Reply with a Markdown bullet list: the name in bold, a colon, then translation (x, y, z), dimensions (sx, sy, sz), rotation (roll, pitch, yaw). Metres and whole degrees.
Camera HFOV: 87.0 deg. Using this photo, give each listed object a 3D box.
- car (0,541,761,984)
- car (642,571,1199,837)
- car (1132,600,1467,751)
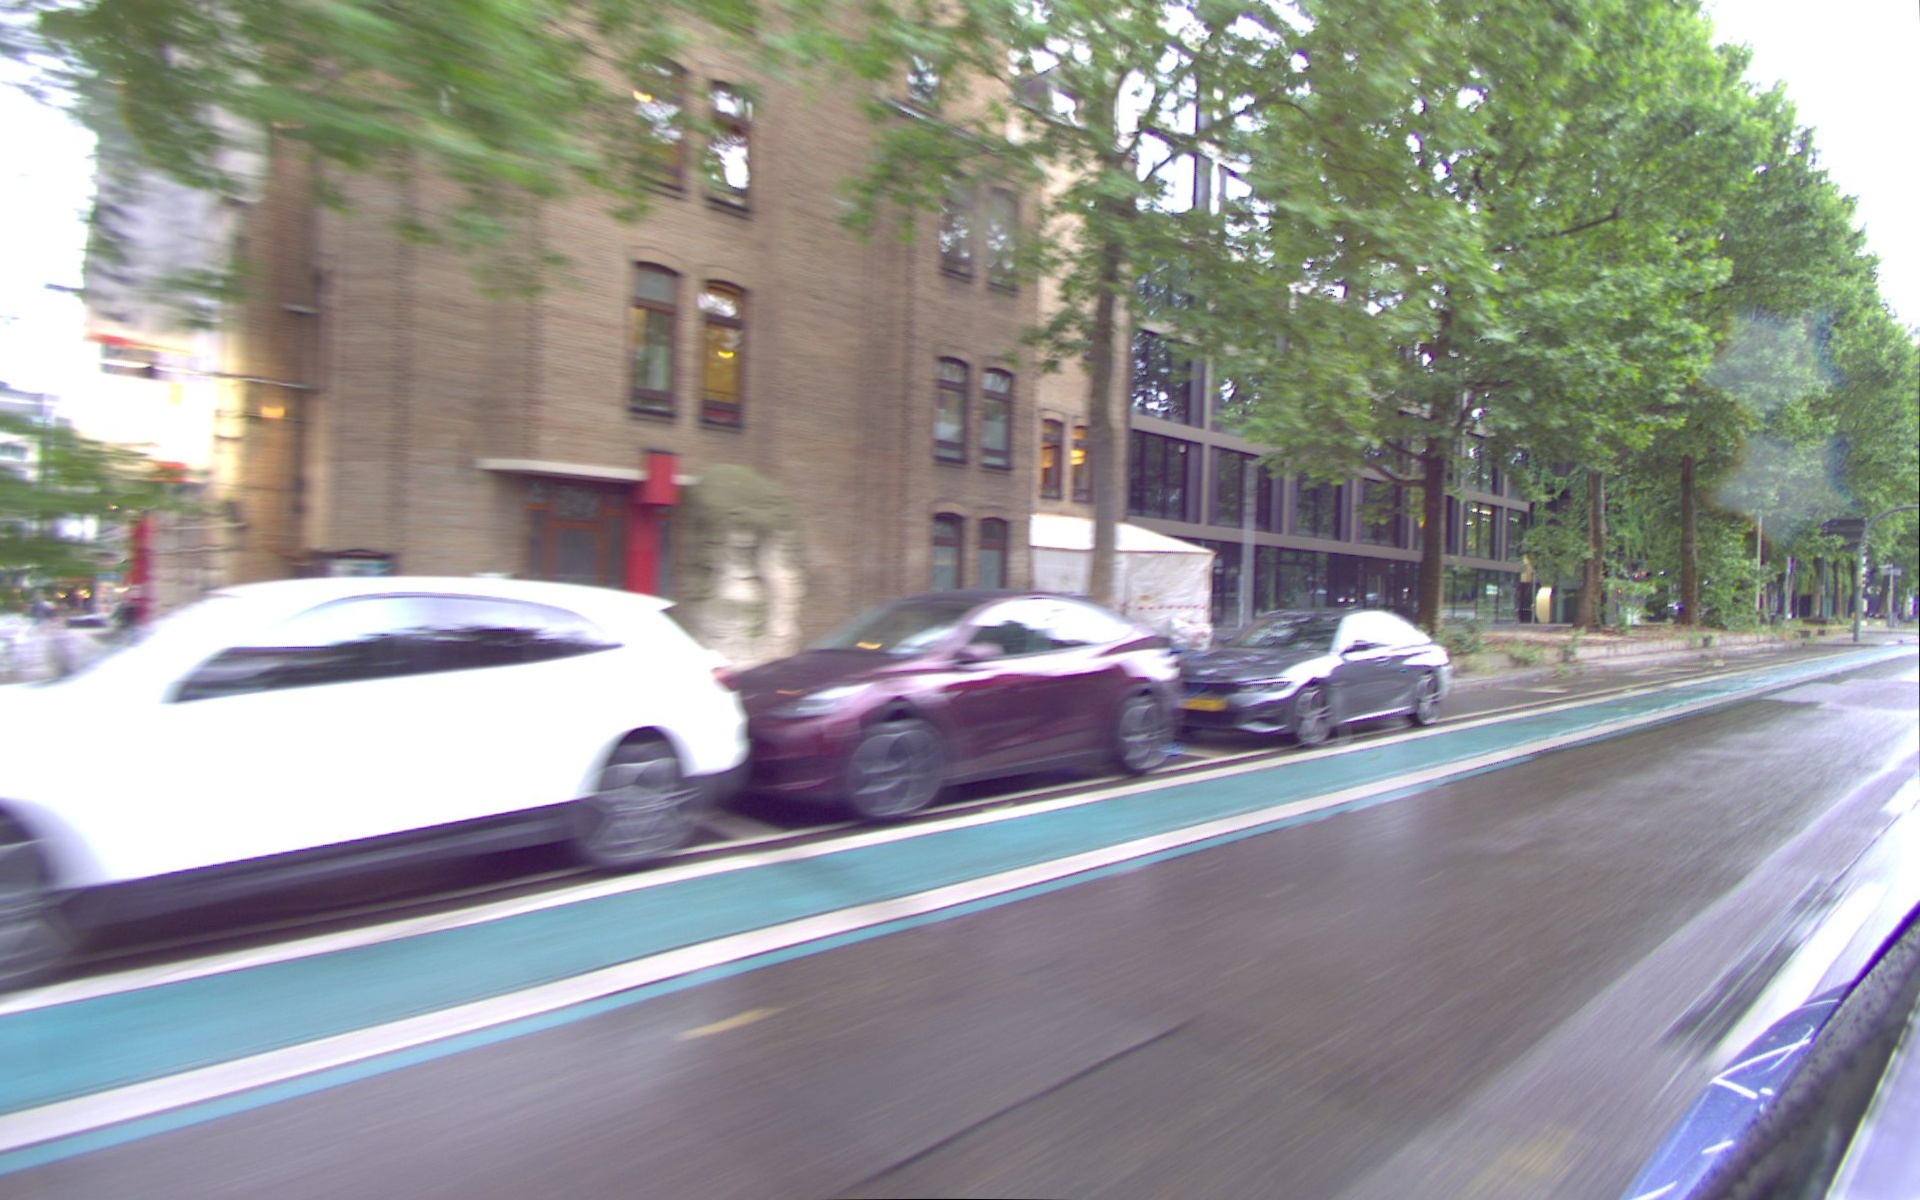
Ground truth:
- **car**: translation (-3.316, 0.589, 5.100), dimensions (1.752, 1.605, 4.340), rotation (0, 0, 44)
- **car**: translation (-0.093, 0.625, 8.420), dimensions (4.486, 1.609, 1.995), rotation (0, 0, -45)
- **car**: translation (4.152, 0.733, 11.986), dimensions (4.506, 1.451, 1.745), rotation (0, 0, -41)
